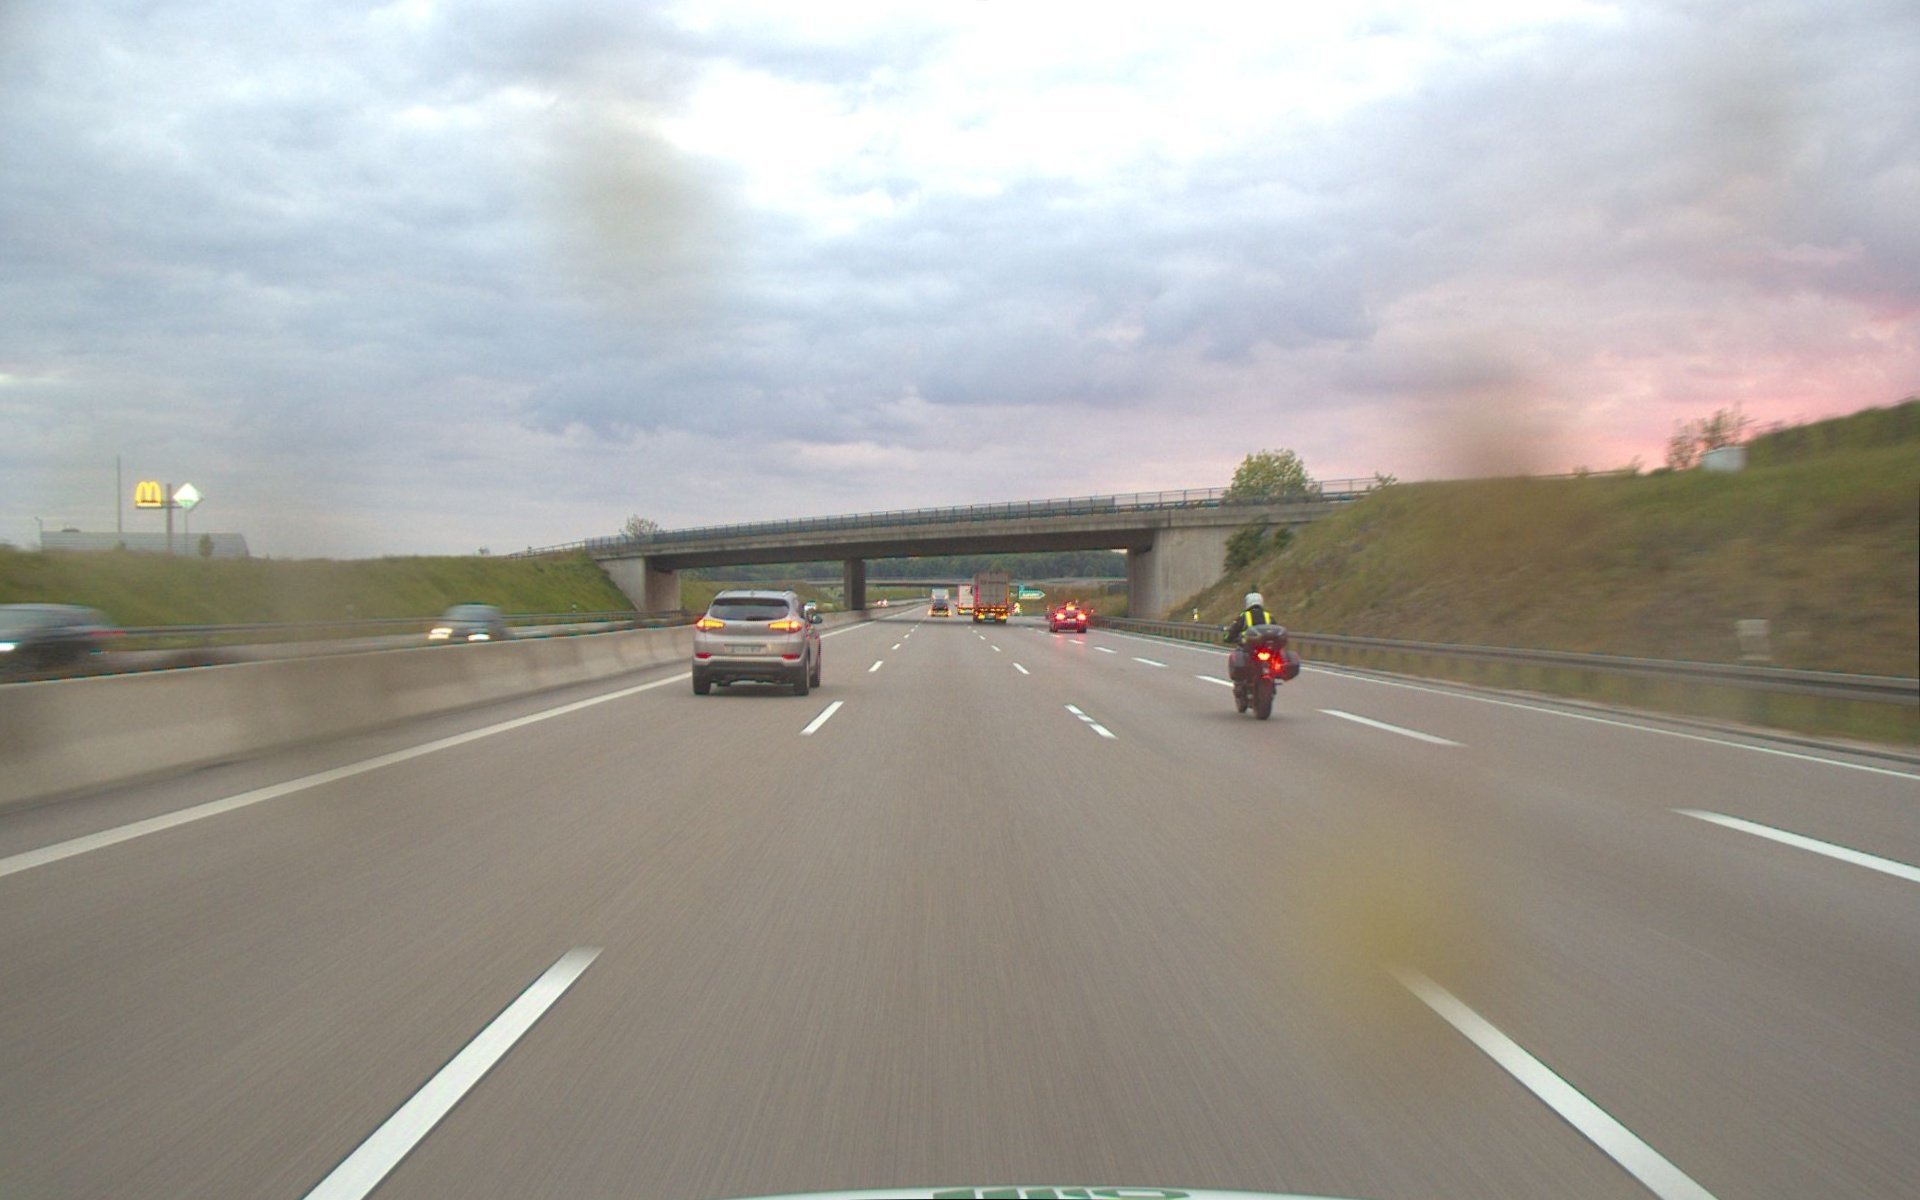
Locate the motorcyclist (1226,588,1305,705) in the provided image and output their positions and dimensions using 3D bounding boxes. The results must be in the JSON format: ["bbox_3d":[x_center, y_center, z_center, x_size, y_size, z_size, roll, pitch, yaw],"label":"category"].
[{"bbox_3d":[4.105,0.606,22.302,0.848,1.513,1.168,1,0,1],"label":"motorcyclist"}]

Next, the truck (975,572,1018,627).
[{"bbox_3d":[2.879,-0.083,134.537,3.168,4.301,9.598,1,0,0],"label":"truck"}]

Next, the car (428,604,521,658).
[{"bbox_3d":[-15.473,0.961,52.925,1.782,1.657,4.000,0,0,0],"label":"car"}]

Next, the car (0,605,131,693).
[{"bbox_3d":[-18.875,0.928,33.226,1.953,1.630,5.198,0,0,-2],"label":"car"}]

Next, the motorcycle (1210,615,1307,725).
[{"bbox_3d":[4.046,0.914,22.603,0.883,1.370,2.348,0,1,0],"label":"motorcycle"}]

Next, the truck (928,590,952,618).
[{"bbox_3d":[-2.509,0.475,203.146,2.892,3.273,8.404,1,0,-1],"label":"truck"}]

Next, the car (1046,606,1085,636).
[{"bbox_3d":[5.888,1.159,92.701,1.879,1.607,3.999,0,0,-1],"label":"car"}]

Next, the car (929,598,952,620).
[{"bbox_3d":[-2.249,0.963,186.829,2.465,2.433,6.494,0,0,-2],"label":"car"}]

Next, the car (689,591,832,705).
[{"bbox_3d":[-3.253,0.732,27.977,1.815,1.722,5.511,0,0,-1],"label":"car"}]

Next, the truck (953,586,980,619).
[{"bbox_3d":[0.806,0.319,227.829,3.454,4.421,8.404,1,0,-1],"label":"truck"}]
